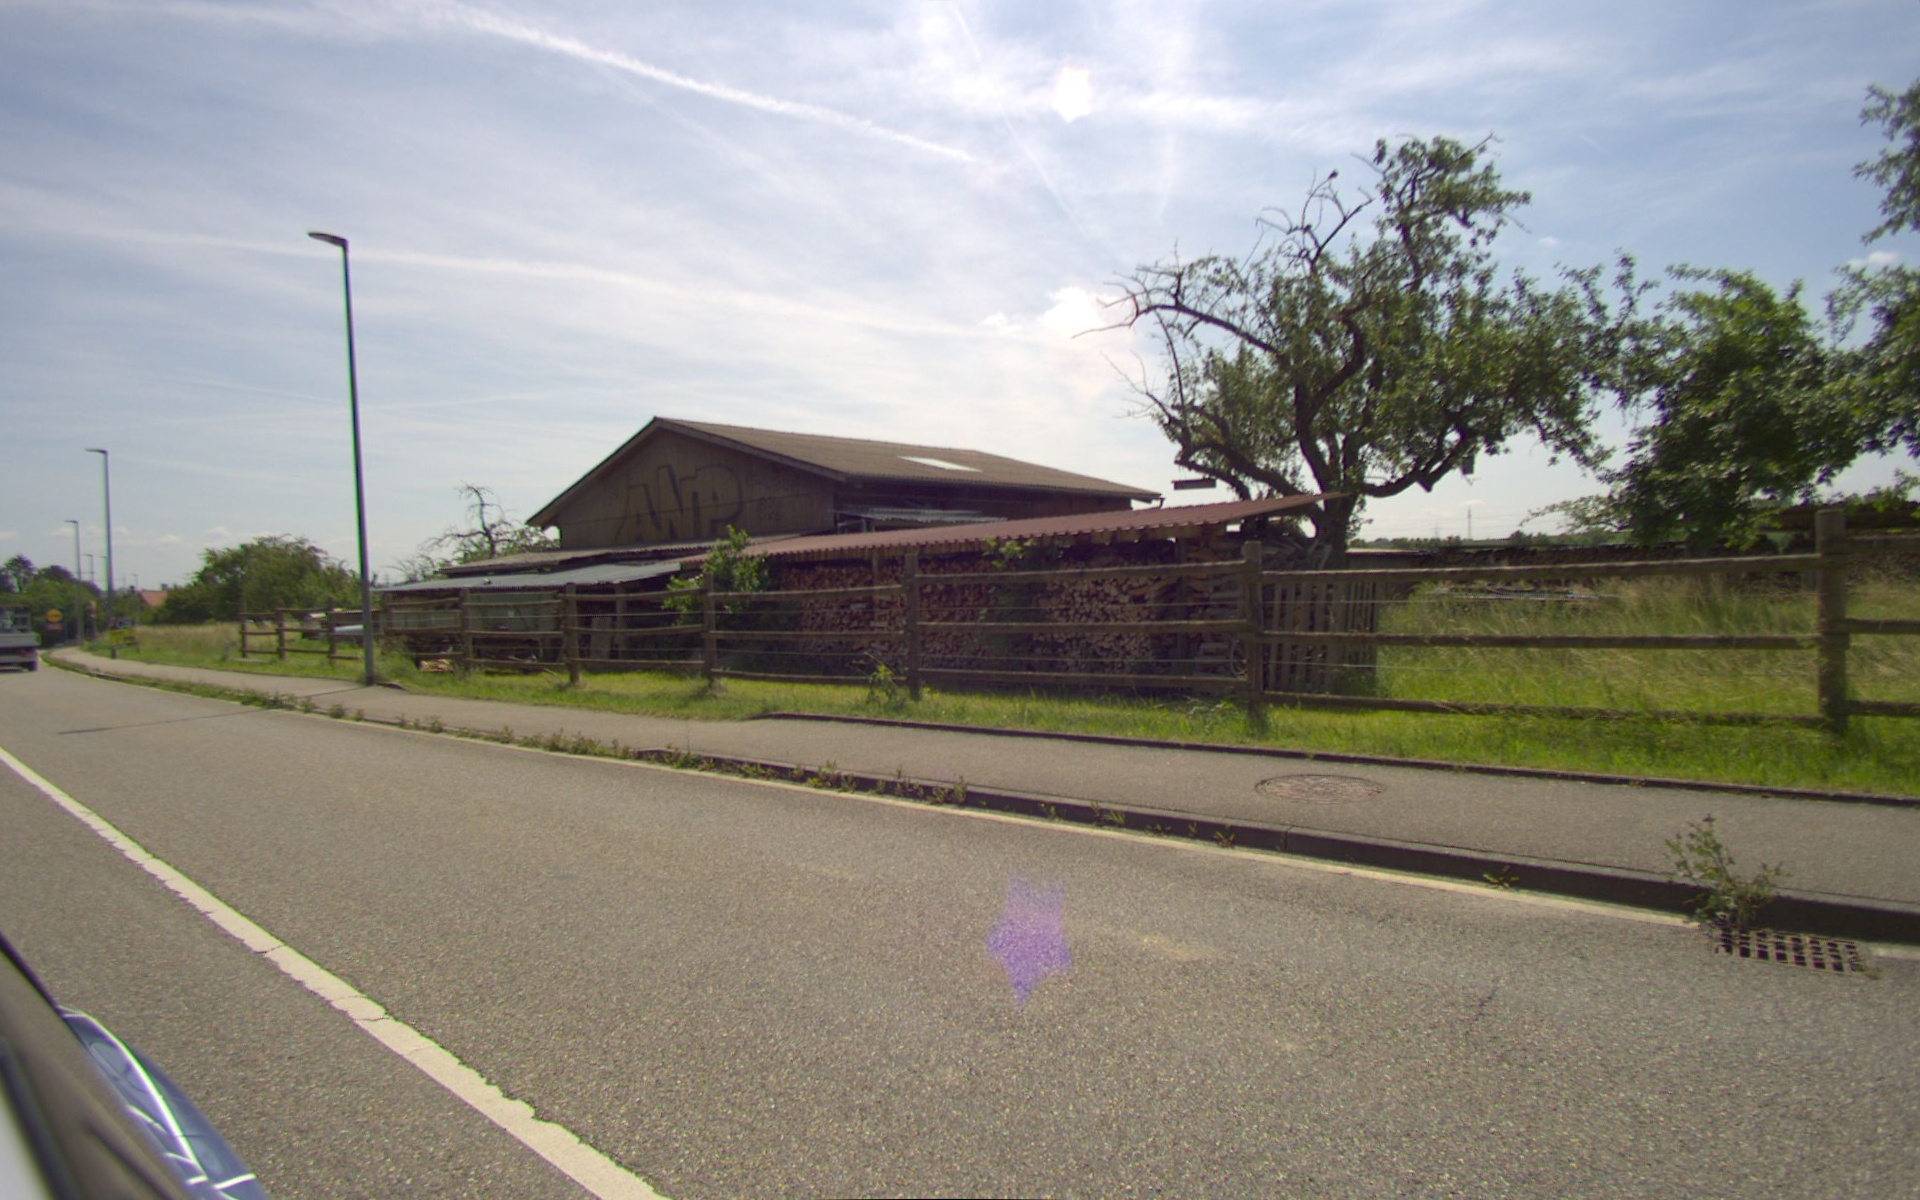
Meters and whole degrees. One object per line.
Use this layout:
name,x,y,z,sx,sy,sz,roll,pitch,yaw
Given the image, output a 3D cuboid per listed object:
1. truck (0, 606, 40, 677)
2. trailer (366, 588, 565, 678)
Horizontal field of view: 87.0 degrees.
truck,-33.730,1.425,35.180,6.494,2.310,2.197,-1,0,45
trailer,-10.814,0.665,21.951,5.027,1.716,2.132,-1,0,42
